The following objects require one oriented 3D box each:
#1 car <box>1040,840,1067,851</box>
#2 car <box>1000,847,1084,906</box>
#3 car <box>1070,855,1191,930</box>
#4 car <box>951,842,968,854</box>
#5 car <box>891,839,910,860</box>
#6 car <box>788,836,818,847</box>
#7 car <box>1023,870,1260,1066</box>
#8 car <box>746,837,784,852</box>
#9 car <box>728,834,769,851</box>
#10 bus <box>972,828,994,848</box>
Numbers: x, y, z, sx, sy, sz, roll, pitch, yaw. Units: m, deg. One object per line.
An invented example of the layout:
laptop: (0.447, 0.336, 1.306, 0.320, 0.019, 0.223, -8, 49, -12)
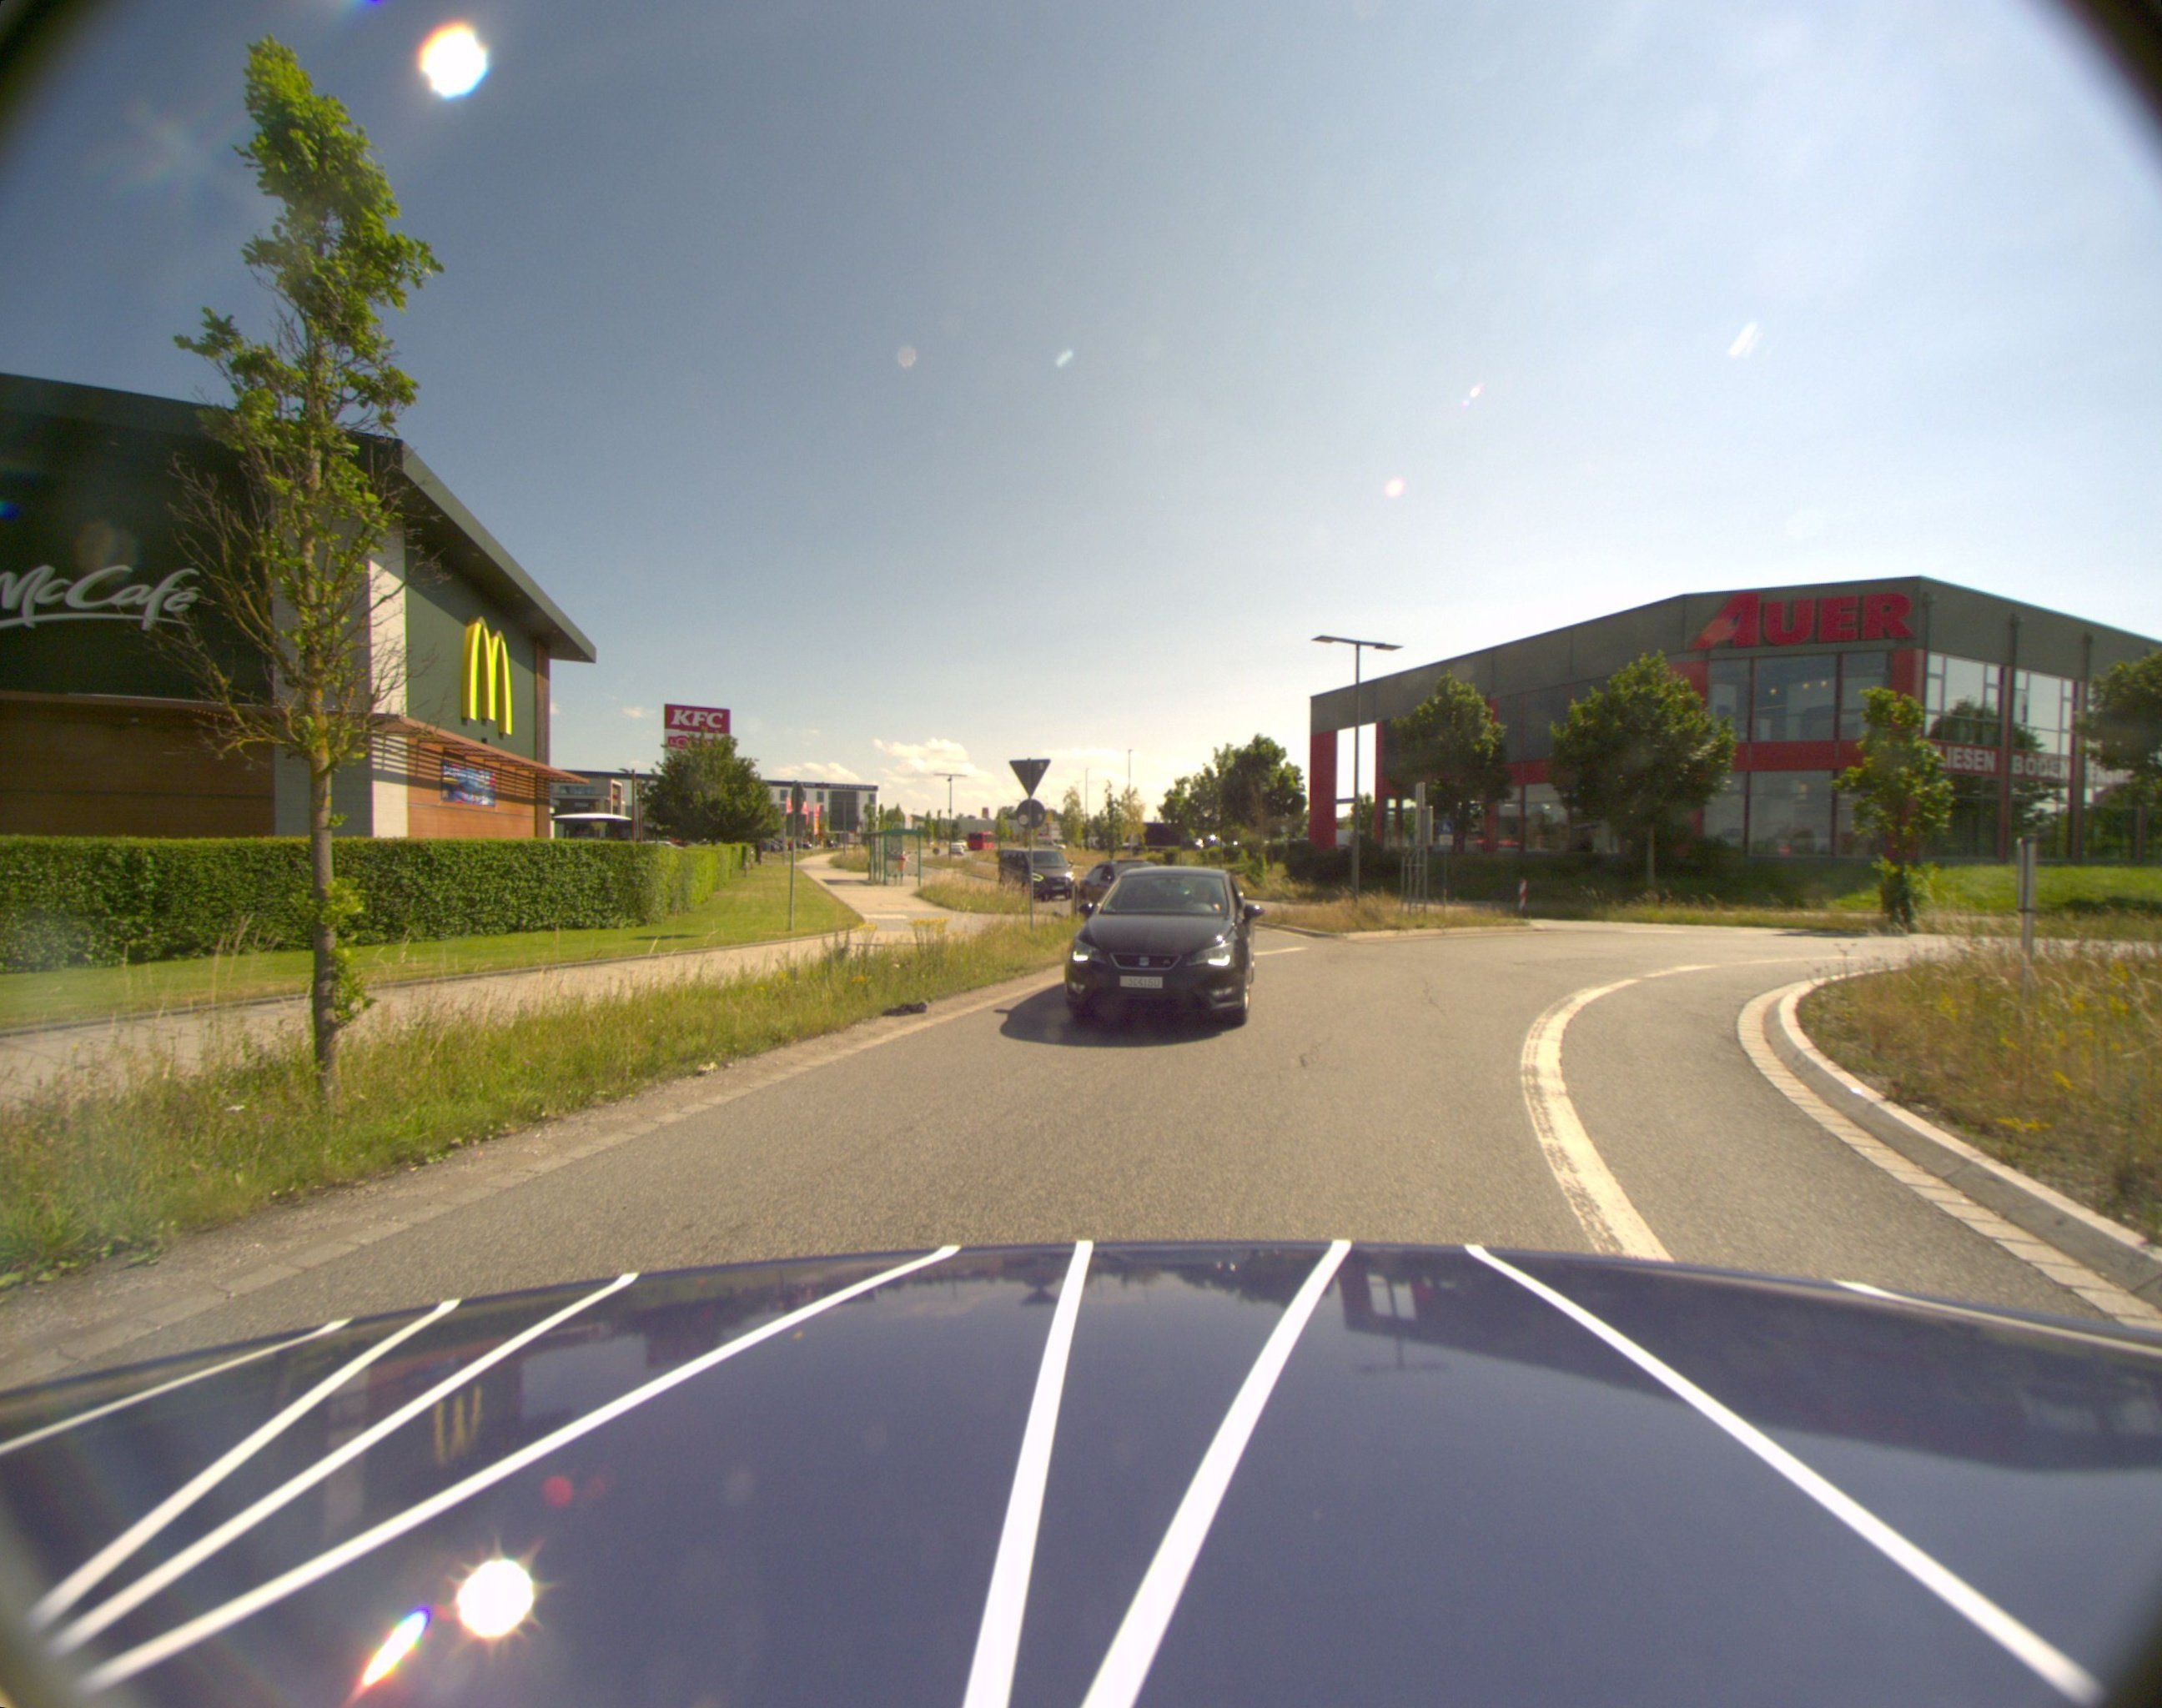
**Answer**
car: (-4.391, -1.295, 119.633, 3.939, 1.667, 1.621, 1, 1, 12)
car: (-1.705, 0.818, 31.050, 2.082, 2.037, 4.673, -3, 3, -20)
car: (1.253, 0.957, 21.056, 1.865, 1.679, 3.992, -3, 3, -20)
car: (-15.088, -0.740, 94.705, 1.797, 1.408, 4.379, 0, 1, -4)
car: (-17.065, -0.448, 71.649, 1.731, 1.893, 3.994, 0, 1, -14)
car: (-41.510, -1.858, 113.493, 3.825, 1.610, 1.755, 0, 1, -9)
car: (0.916, 0.943, 8.139, 1.859, 1.459, 4.005, 1, 0, 14)
car: (-40.986, -1.207, 98.499, 4.186, 1.847, 1.802, 1, 1, -4)
car: (-40.396, -1.345, 92.251, 4.187, 2.002, 1.931, 0, 1, -9)
bus: (-16.027, -2.612, 125.054, 2.616, 3.223, 11.875, 0, 1, -3)
